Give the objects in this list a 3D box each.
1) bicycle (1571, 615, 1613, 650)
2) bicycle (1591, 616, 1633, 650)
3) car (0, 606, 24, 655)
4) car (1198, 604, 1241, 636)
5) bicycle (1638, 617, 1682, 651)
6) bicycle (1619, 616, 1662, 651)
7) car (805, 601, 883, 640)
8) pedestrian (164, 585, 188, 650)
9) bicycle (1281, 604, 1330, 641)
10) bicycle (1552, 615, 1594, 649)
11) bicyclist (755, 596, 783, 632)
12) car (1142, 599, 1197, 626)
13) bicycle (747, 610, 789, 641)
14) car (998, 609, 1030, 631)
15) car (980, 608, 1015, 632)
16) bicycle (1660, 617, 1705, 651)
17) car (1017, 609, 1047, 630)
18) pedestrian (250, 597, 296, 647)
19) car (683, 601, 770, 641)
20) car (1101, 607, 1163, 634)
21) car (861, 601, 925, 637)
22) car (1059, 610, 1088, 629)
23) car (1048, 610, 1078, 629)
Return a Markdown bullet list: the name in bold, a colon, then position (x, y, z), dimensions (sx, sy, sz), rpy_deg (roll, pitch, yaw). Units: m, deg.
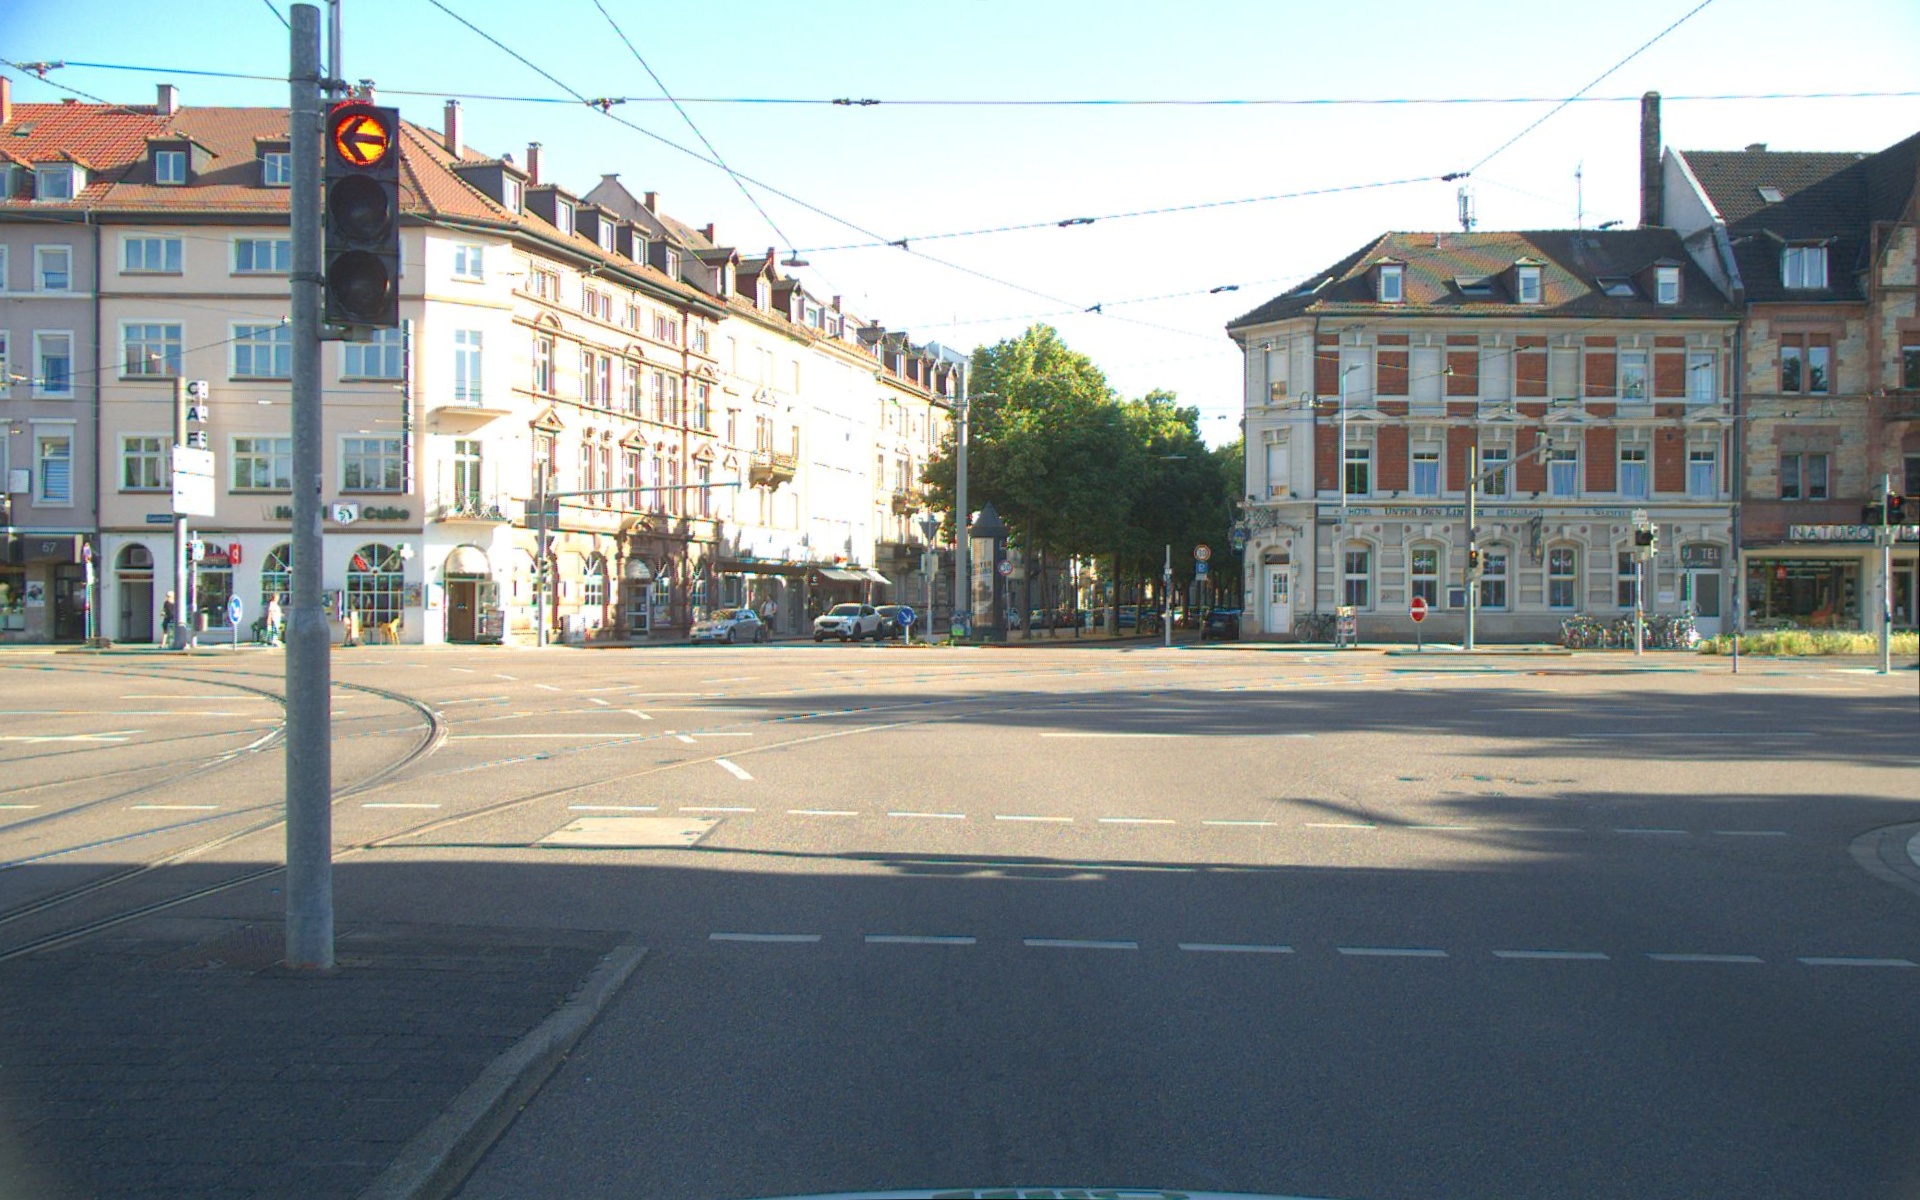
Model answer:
- **bicycle**: position (20.463, 1.048, 53.568), dimensions (0.593, 1.069, 1.641), rpy_deg (0, 0, -6)
- **bicycle**: position (21.115, 1.059, 53.594), dimensions (0.593, 1.069, 1.641), rpy_deg (0, 0, -6)
- **car**: position (-32.065, 0.995, 52.157), dimensions (3.910, 1.489, 1.998), rpy_deg (-1, 1, -6)
- **car**: position (12.972, 1.014, 82.466), dimensions (1.616, 1.551, 3.755), rpy_deg (0, -1, 17)
- **bicycle**: position (22.602, 1.085, 53.402), dimensions (0.593, 1.069, 1.641), rpy_deg (0, 0, -6)
- **bicycle**: position (21.941, 1.073, 53.326), dimensions (0.593, 1.069, 1.641), rpy_deg (0, 0, -6)
- **car**: position (-4.653, 0.795, 67.081), dimensions (2.052, 1.525, 4.003), rpy_deg (0, 0, 13)
- **pedestrian**: position (-24.669, 0.538, 52.036), dimensions (0.498, 2.049, 0.505), rpy_deg (0, 0, 2)
- **bicycle**: position (11.973, 0.773, 57.303), dimensions (1.603, 1.243, 0.607), rpy_deg (0, 0, 16)
- **bicycle**: position (19.823, 1.036, 53.513), dimensions (0.593, 1.069, 1.641), rpy_deg (0, 0, -6)
- **bicyclist**: position (-7.561, 0.548, 65.466), dimensions (0.776, 1.399, 1.109), rpy_deg (0, 0, 14)
- **car**: position (16.957, 1.027, 133.665), dimensions (4.026, 1.952, 1.746), rpy_deg (3, 0, 21)
- **bicycle**: position (-7.576, 0.999, 65.496), dimensions (0.734, 1.155, 2.812), rpy_deg (0, 0, 14)
- **car**: position (3.803, 1.367, 115.841), dimensions (1.704, 1.422, 4.127), rpy_deg (3, 0, 9)
- **car**: position (2.525, 1.319, 110.018), dimensions (1.704, 1.422, 4.127), rpy_deg (3, 0, 9)
- **bicycle**: position (23.328, 1.097, 53.424), dimensions (0.593, 1.069, 1.641), rpy_deg (0, 0, -6)
- **car**: position (5.334, 1.424, 122.841), dimensions (1.704, 1.422, 4.127), rpy_deg (3, 0, 9)
- **pedestrian**: position (-22.274, 0.702, 53.625), dimensions (1.043, 1.618, 1.042), rpy_deg (0, 0, 1)
- **car**: position (-9.452, 0.816, 67.222), dimensions (2.052, 1.572, 4.367), rpy_deg (0, 0, 13)
- **car**: position (12.004, 1.414, 115.385), dimensions (4.024, 1.675, 1.748), rpy_deg (3, 0, 15)
- **car**: position (-2.961, 0.803, 73.474), dimensions (1.951, 1.540, 4.004), rpy_deg (0, 0, 11)
- **car**: position (9.421, 1.586, 136.503), dimensions (1.704, 1.422, 4.127), rpy_deg (3, 0, 13)
- **car**: position (8.243, 1.549, 131.708), dimensions (1.704, 1.422, 4.127), rpy_deg (3, 0, 13)
